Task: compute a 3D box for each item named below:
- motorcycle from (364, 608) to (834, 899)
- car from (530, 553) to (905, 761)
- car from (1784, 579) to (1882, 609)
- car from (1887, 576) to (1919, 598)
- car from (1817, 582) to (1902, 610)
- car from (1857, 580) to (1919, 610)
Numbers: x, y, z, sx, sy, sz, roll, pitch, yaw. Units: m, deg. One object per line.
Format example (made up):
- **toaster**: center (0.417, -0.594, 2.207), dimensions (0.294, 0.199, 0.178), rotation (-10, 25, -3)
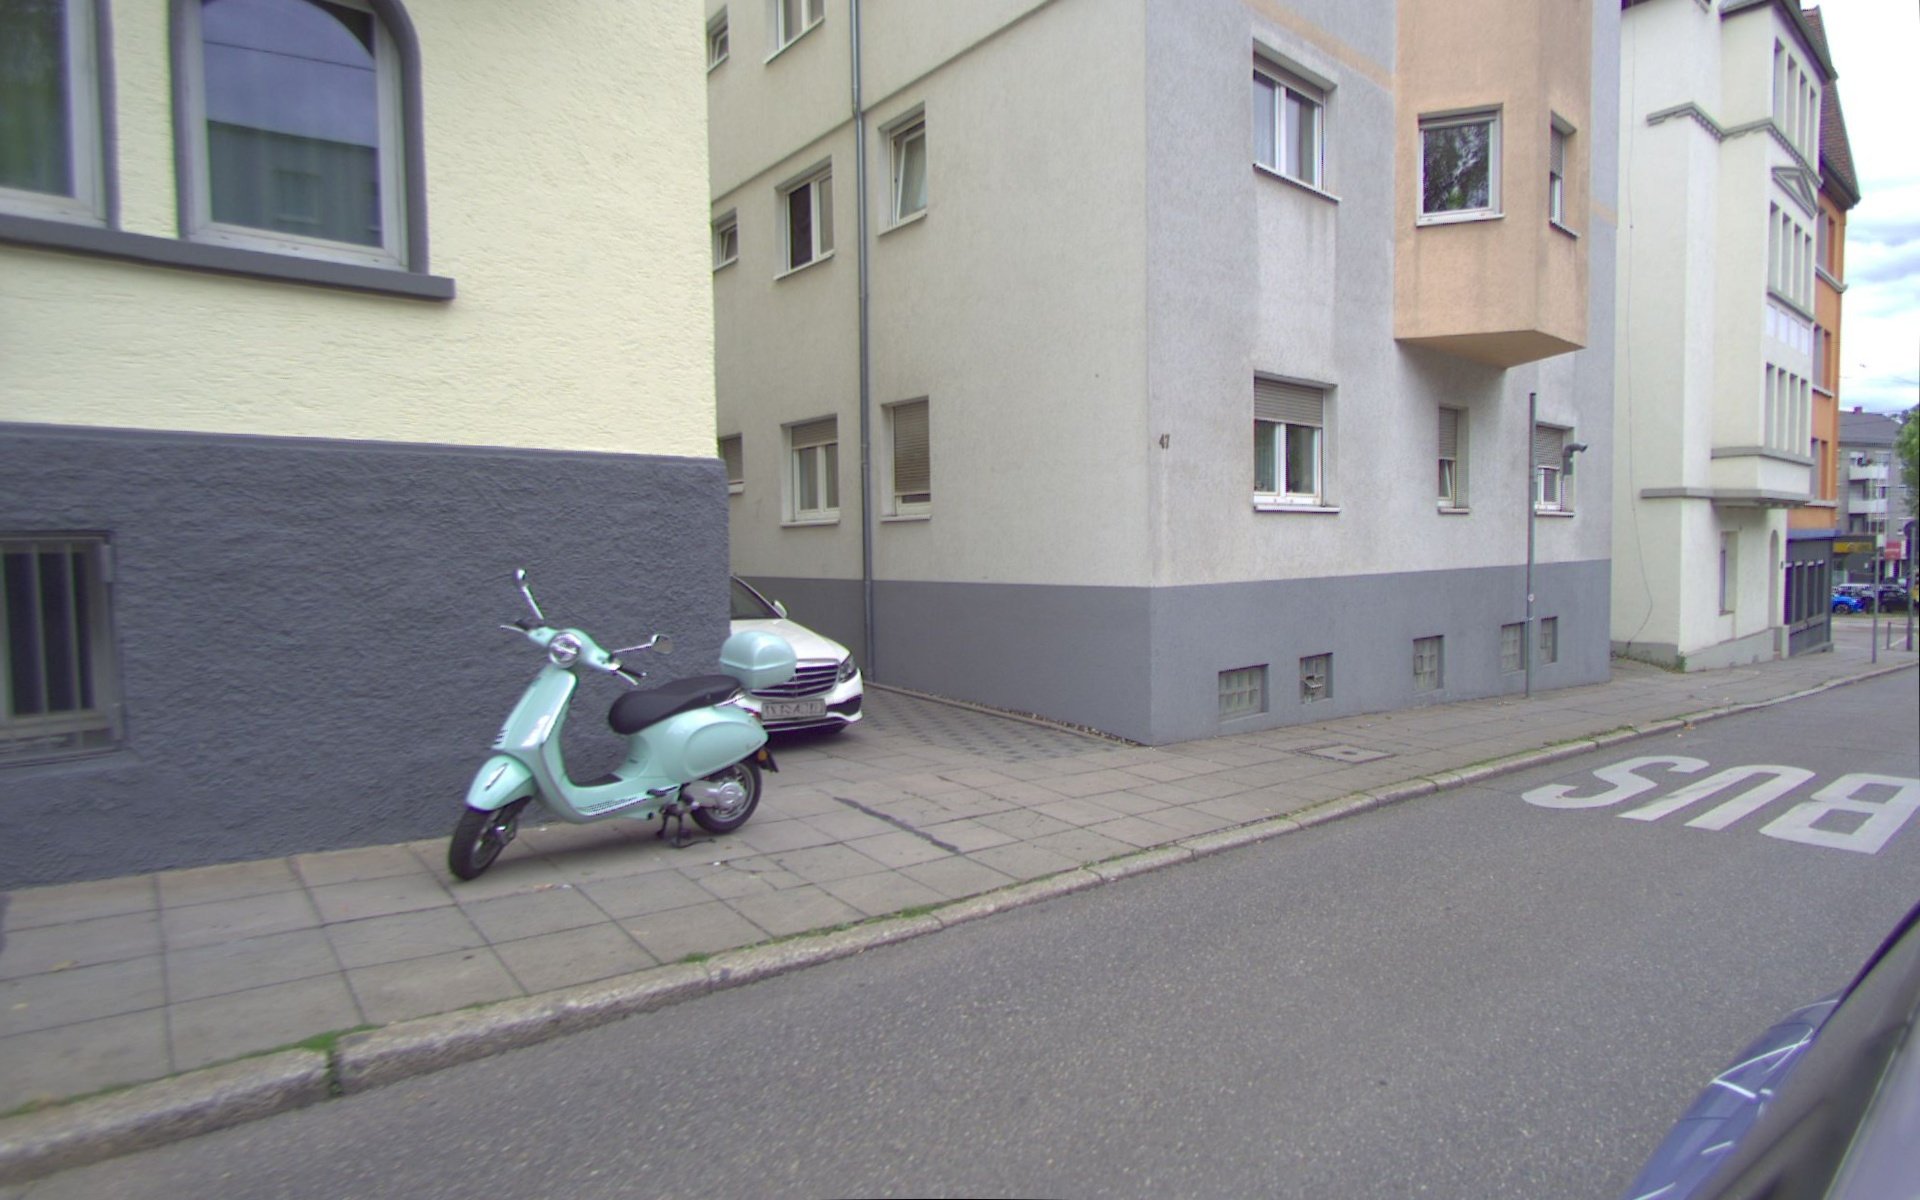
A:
- **motorcycle**: center (-1.716, 0.647, 5.151), dimensions (2.189, 1.170, 0.538), rotation (0, 4, -44)
- **car**: center (-2.465, 0.354, 9.550), dimensions (1.852, 1.441, 3.997), rotation (1, 3, -40)
- **car**: center (53.419, -0.381, 61.996), dimensions (1.796, 1.596, 4.258), rotation (1, 3, -39)
- **car**: center (69.715, -0.923, 73.143), dimensions (3.570, 1.572, 1.610), rotation (2, 2, 23)
- **car**: center (57.147, -0.277, 64.324), dimensions (3.919, 1.495, 1.833), rotation (3, 2, -7)
- **car**: center (62.197, -0.317, 66.940), dimensions (4.084, 1.625, 1.835), rotation (3, 7, -7)
